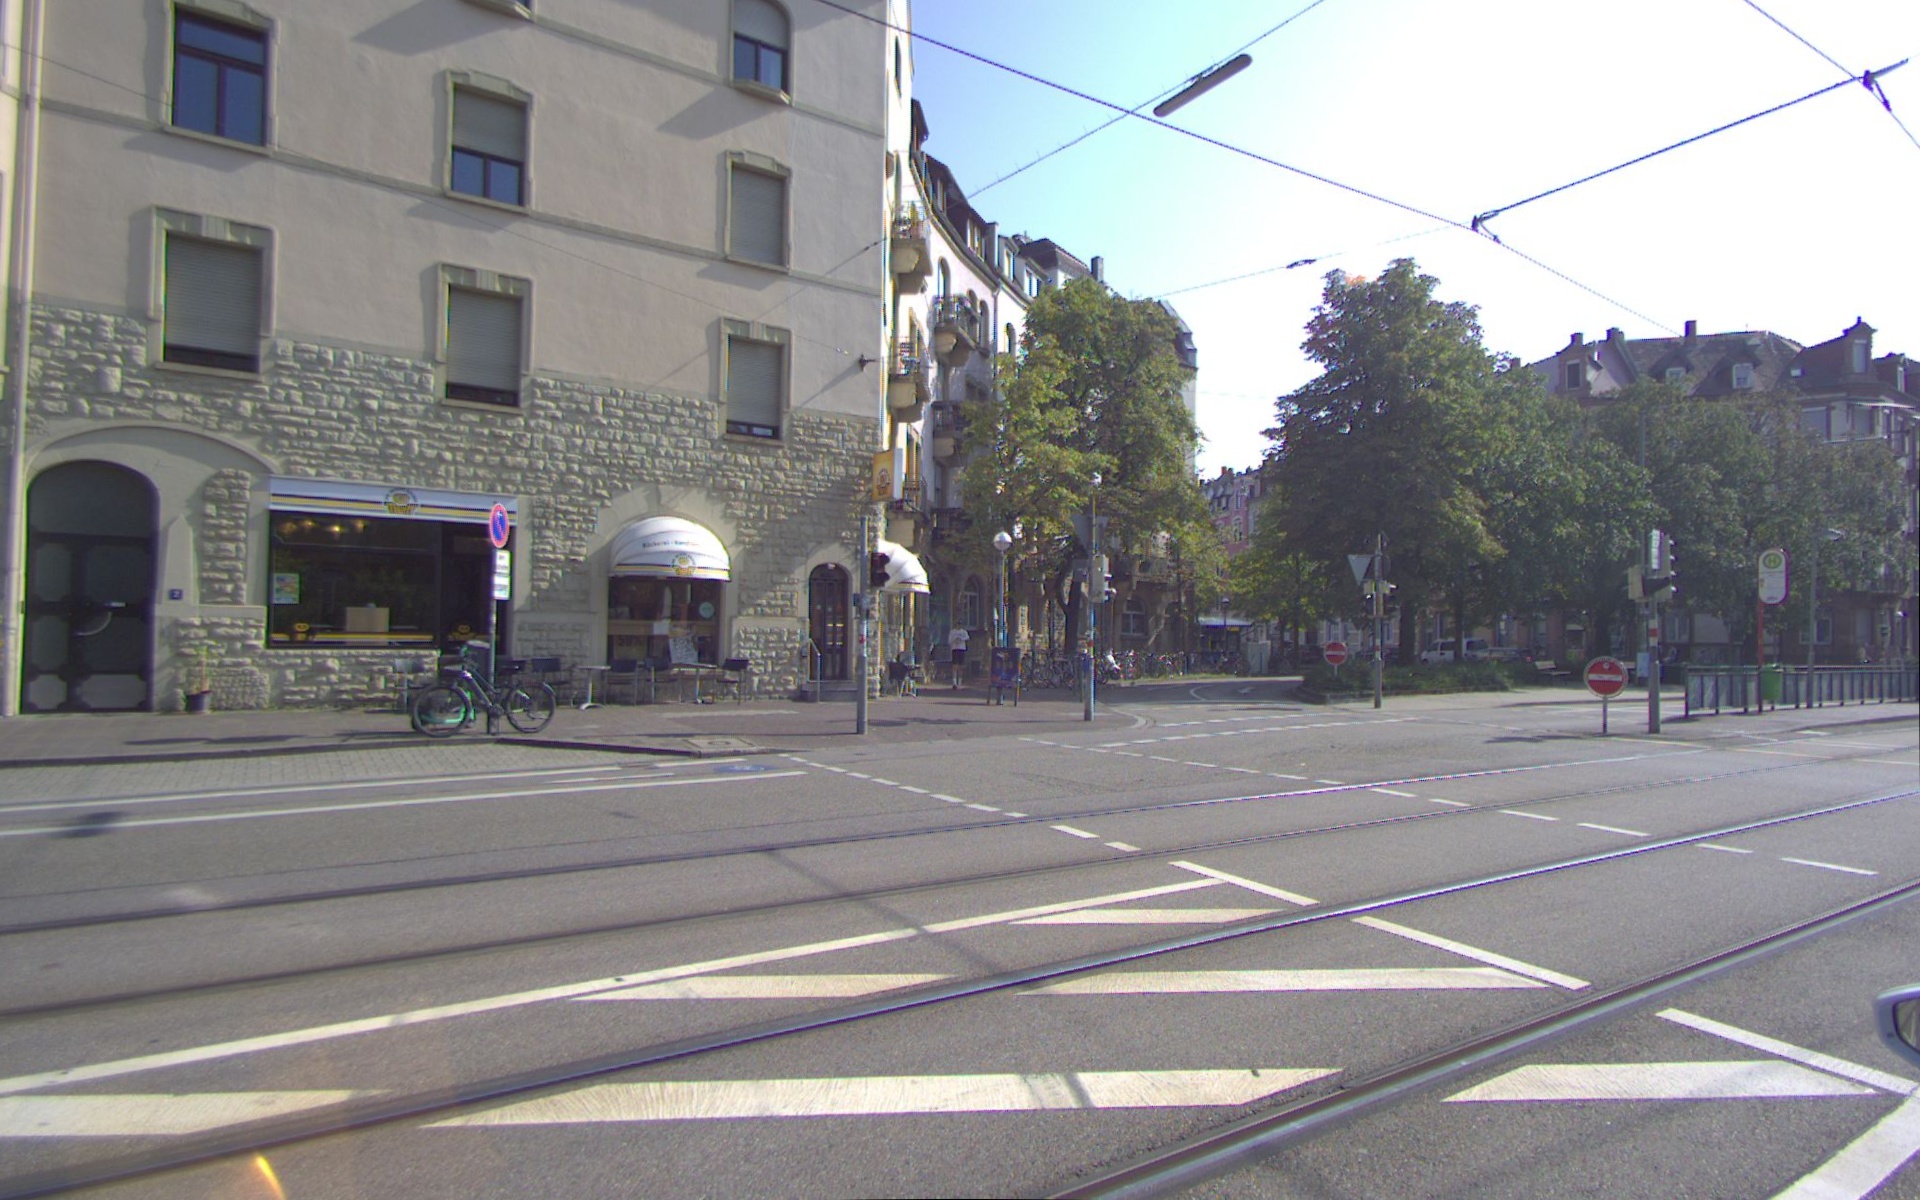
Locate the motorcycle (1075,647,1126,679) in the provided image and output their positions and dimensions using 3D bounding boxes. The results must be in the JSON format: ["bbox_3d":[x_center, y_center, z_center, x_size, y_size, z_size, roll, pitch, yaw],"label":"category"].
[{"bbox_3d":[5.461,2.459,39.077,1.839,1.169,0.607,0,-2,25],"label":"motorcycle"}]

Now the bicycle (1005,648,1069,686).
[{"bbox_3d":[2.340,2.050,30.714,1.845,1.127,0.569,2,-2,-11],"label":"bicycle"}]

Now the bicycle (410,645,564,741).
[{"bbox_3d":[-6.452,1.244,13.780,1.843,1.242,0.449,3,-3,-42],"label":"bicycle"}]

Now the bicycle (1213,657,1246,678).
[{"bbox_3d":[12.881,3.221,47.993,1.751,0.990,0.422,2,-3,-33],"label":"bicycle"}]

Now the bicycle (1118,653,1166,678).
[{"bbox_3d":[7.663,2.745,42.283,1.865,0.993,0.686,0,-2,25],"label":"bicycle"}]

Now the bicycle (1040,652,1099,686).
[{"bbox_3d":[3.598,2.259,32.976,1.841,1.047,0.570,1,-2,20],"label":"bicycle"}]

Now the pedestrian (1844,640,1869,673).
[{"bbox_3d":[48.363,3.056,54.212,0.756,1.753,0.752,0,-2,20],"label":"pedestrian"}]

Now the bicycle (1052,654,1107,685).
[{"bbox_3d":[4.097,2.370,34.326,1.769,0.997,0.570,1,-2,18],"label":"bicycle"}]

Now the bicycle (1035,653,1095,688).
[{"bbox_3d":[3.289,2.203,31.512,1.840,1.016,0.570,1,-2,5],"label":"bicycle"}]

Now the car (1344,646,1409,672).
[{"bbox_3d":[27.225,3.831,65.810,1.964,1.589,4.330,1,-2,-9],"label":"car"}]

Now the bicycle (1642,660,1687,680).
[{"bbox_3d":[36.813,3.648,52.493,1.903,0.990,0.497,0,-2,8],"label":"bicycle"}]

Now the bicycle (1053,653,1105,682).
[{"bbox_3d":[4.344,2.440,36.527,1.769,0.989,0.661,1,-2,18],"label":"bicycle"}]

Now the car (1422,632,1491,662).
[{"bbox_3d":[31.359,2.964,63.534,1.964,1.852,3.994,1,-2,-10],"label":"car"}]

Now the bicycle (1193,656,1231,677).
[{"bbox_3d":[12.301,3.231,49.085,1.741,0.990,0.603,-1,-3,36],"label":"bicycle"}]

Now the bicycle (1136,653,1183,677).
[{"bbox_3d":[8.617,2.796,43.310,1.865,0.993,0.686,0,-2,25],"label":"bicycle"}]

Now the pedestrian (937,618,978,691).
[{"bbox_3d":[-0.076,1.476,27.321,0.767,1.918,0.886,2,-2,-31],"label":"pedestrian"}]

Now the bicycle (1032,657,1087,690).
[{"bbox_3d":[2.977,2.184,30.064,1.577,0.932,0.479,2,-2,-2],"label":"bicycle"}]

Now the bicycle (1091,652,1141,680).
[{"bbox_3d":[6.178,2.601,39.900,1.843,1.041,0.664,0,-2,25],"label":"bicycle"}]

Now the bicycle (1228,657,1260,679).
[{"bbox_3d":[13.558,3.239,47.989,1.751,0.990,0.422,2,-3,-33],"label":"bicycle"}]

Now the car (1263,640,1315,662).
[{"bbox_3d":[25.197,3.913,77.088,1.964,1.589,4.329,1,-2,-10],"label":"car"}]

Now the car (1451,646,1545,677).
[{"bbox_3d":[29.892,3.416,55.950,1.975,1.589,4.307,2,-3,-27],"label":"car"}]

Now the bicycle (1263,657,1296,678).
[{"bbox_3d":[15.990,3.358,50.312,0.597,0.990,1.760,1,-2,-24],"label":"bicycle"}]

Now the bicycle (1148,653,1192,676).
[{"bbox_3d":[9.332,2.876,44.700,1.850,0.947,0.636,0,-3,41],"label":"bicycle"}]

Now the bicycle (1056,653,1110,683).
[{"bbox_3d":[4.355,2.396,35.512,1.769,0.996,0.661,1,-2,18],"label":"bicycle"}]

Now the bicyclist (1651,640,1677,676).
[{"bbox_3d":[36.818,3.036,52.511,0.969,1.881,0.493,0,-2,8],"label":"bicyclist"}]

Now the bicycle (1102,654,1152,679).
[{"bbox_3d":[6.805,2.706,41.012,1.876,0.947,0.738,0,-2,25],"label":"bicycle"}]

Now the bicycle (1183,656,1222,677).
[{"bbox_3d":[11.723,3.208,48.558,1.742,0.990,0.518,-1,-3,37],"label":"bicycle"}]

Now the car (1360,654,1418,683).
[{"bbox_3d":[30.215,4.809,70.895,1.964,1.852,3.994,1,-2,-10],"label":"car"}]

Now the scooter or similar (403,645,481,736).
[{"bbox_3d":[-7.195,1.235,13.986,0.359,1.213,1.035,0,-2,12],"label":"scooter or similar"}]

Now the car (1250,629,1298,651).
[{"bbox_3d":[27.166,3.463,87.046,1.969,1.852,3.984,1,-2,-19],"label":"car"}]
